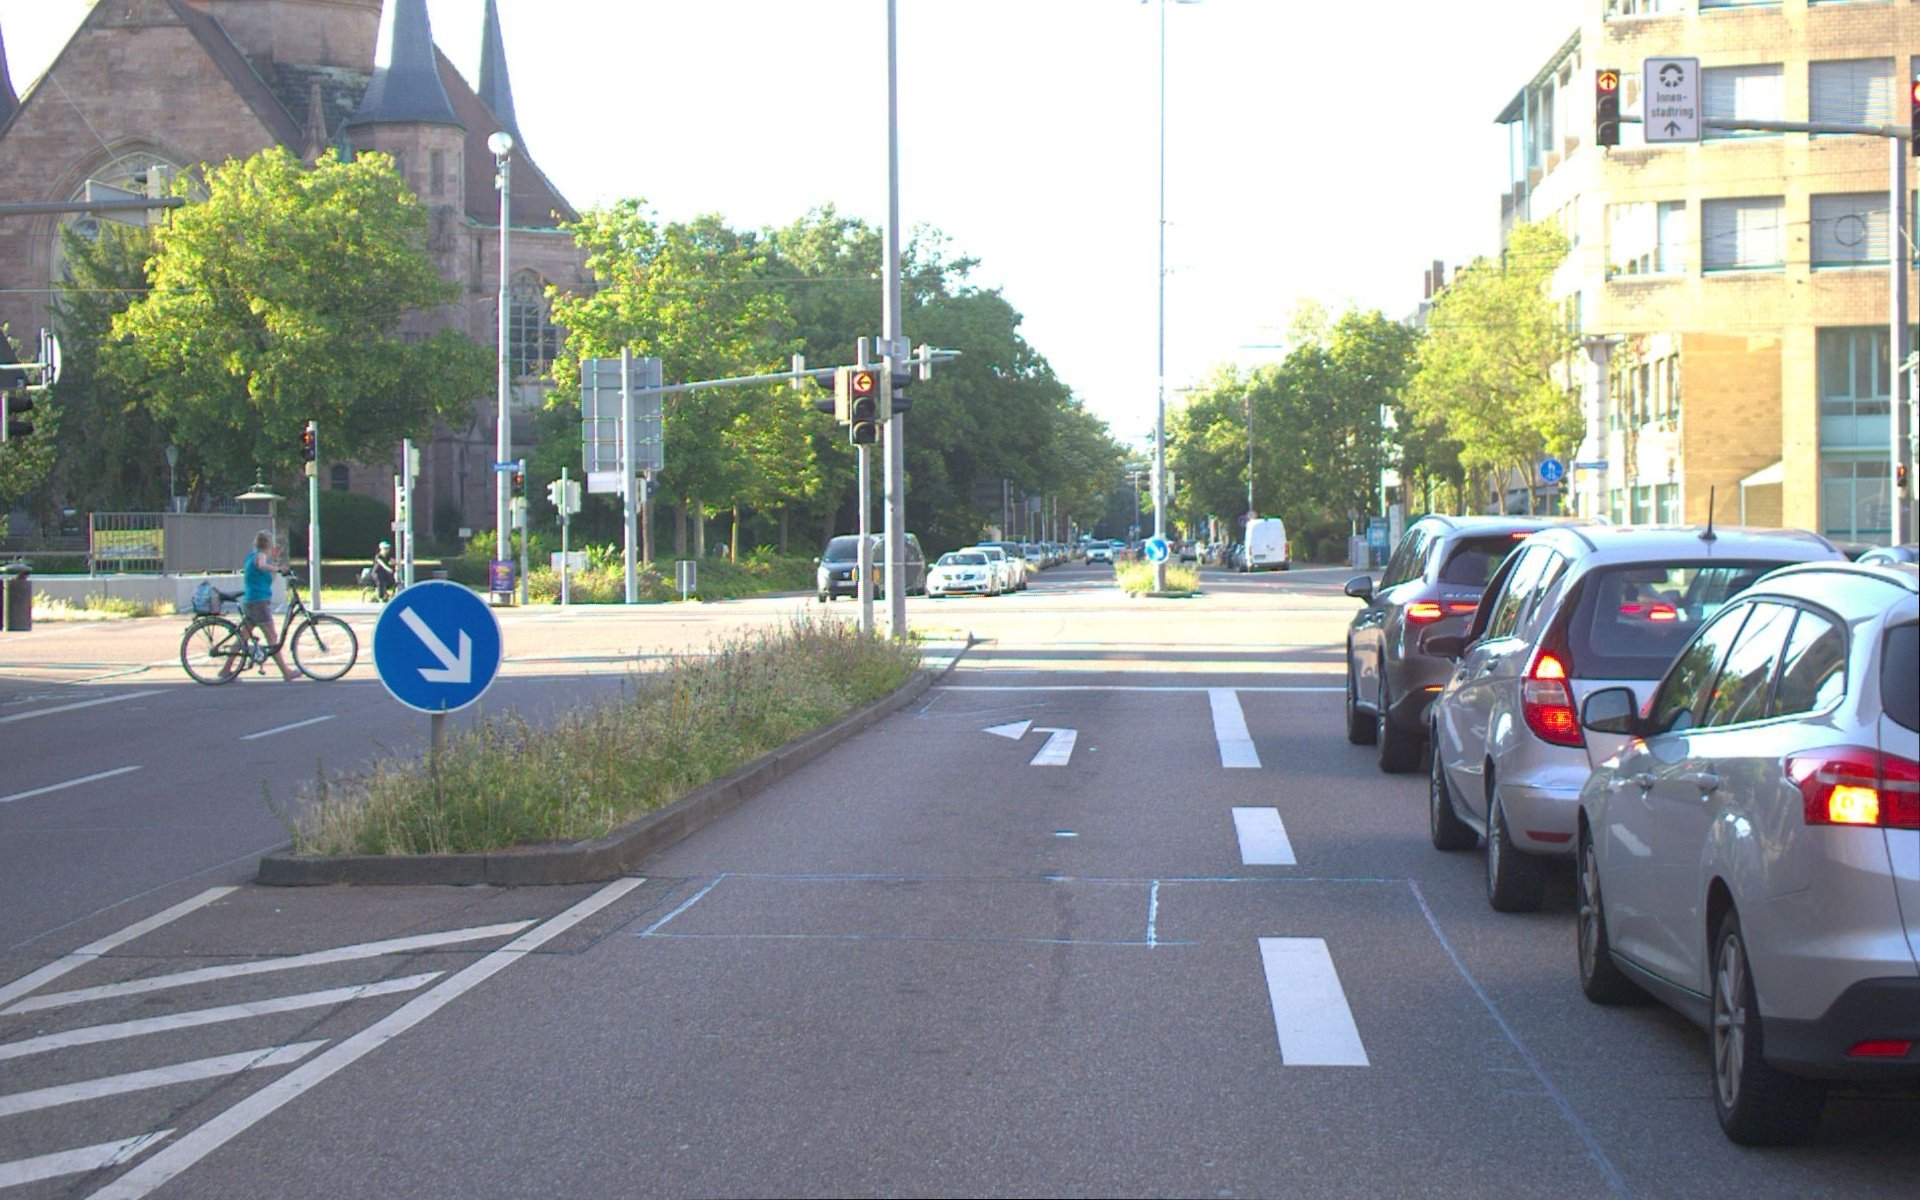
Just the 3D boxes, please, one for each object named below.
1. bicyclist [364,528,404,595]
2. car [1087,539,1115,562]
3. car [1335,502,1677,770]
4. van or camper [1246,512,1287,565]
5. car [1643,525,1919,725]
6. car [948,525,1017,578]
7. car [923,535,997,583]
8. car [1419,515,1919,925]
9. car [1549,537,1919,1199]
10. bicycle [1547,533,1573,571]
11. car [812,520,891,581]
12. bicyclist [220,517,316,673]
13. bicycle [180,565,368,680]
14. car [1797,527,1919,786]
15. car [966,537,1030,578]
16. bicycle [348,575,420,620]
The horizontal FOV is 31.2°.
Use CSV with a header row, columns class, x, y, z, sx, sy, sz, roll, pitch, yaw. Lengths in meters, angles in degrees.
class,x,y,z,sx,sy,sz,roll,pitch,yaw
bicyclist,-14.627,-0.986,87.300,0.780,1.688,0.640,0,1,20
car,9.297,-3.256,226.347,1.780,1.444,4.000,0,2,4
car,3.591,0.160,23.328,1.784,1.627,4.479,0,2,2
van or camper,15.424,-3.114,173.046,1.994,2.631,5.350,0,2,5
car,6.507,0.144,27.329,1.585,1.441,3.647,1,2,3
car,0.667,-1.438,100.848,1.780,1.459,4.000,0,2,4
car,0.017,-1.148,94.307,1.780,1.232,4.000,0,2,4
car,3.109,0.423,15.134,1.804,1.563,3.618,-1,2,2
car,2.782,0.599,9.701,1.708,1.504,4.309,0,2,3
bicycle,19.334,-1.551,110.732,0.774,1.191,2.464,0,2,11
car,-2.980,-1.387,95.046,1.780,1.641,4.000,0,2,4
bicyclist,-7.467,-0.061,37.115,0.782,1.654,0.900,-1,1,4
bicycle,-7.306,0.232,36.660,1.827,1.184,0.734,-1,1,2
car,6.472,0.294,22.008,1.489,1.500,3.479,-1,1,2
car,1.216,-1.346,108.419,1.780,1.232,4.000,0,2,4
bicycle,-14.625,-0.061,87.327,1.676,1.135,0.647,0,1,20
